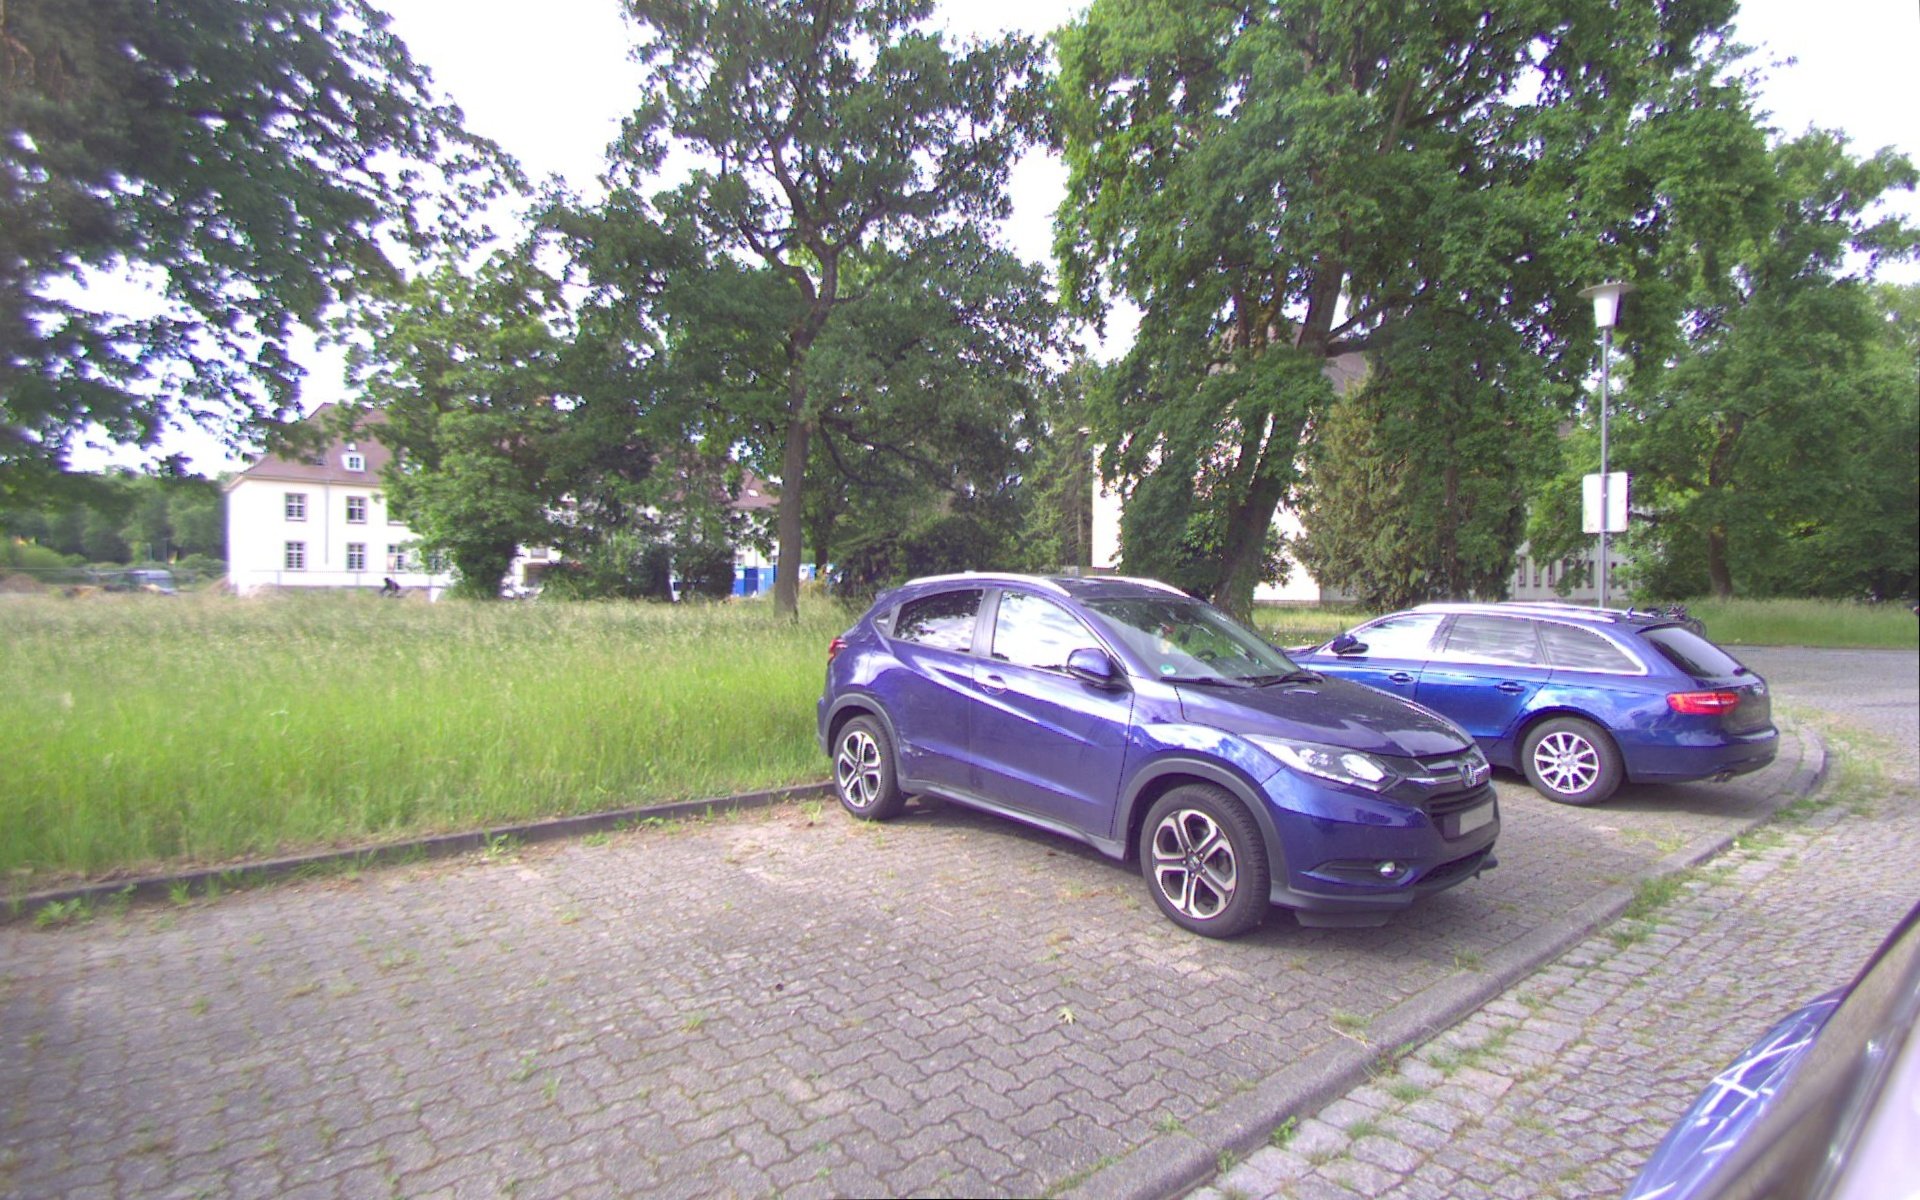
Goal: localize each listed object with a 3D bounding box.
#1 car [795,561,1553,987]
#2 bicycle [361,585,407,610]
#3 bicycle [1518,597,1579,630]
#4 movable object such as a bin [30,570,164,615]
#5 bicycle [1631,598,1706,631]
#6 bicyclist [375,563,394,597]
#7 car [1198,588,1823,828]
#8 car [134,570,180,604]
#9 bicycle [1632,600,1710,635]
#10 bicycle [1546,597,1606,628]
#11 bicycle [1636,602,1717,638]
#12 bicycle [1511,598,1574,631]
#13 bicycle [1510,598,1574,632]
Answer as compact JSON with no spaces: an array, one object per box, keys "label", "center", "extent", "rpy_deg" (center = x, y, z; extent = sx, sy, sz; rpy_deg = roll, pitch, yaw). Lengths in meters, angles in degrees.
[{"label":"car","center":[0.876,0.595,5.942],"extent":[1.762,1.591,4.170],"rpy_deg":[-1,2,-40]},{"label":"bicycle","center":[-29.371,-0.128,51.608],"extent":[1.899,1.244,0.724],"rpy_deg":[-1,0,-42]},{"label":"bicycle","center":[21.136,0.478,36.397],"extent":[1.839,1.137,0.616],"rpy_deg":[0,0,27]},{"label":"movable object such as a bin","center":[-53.003,-0.493,62.307],"extent":[5.853,2.688,2.179],"rpy_deg":[0,0,-23]},{"label":"bicycle","center":[24.191,0.496,34.591],"extent":[2.010,1.090,0.616],"rpy_deg":[0,0,27]},{"label":"bicyclist","center":[-29.378,-0.991,51.659],"extent":[0.759,1.717,0.726],"rpy_deg":[0,0,-41]},{"label":"car","center":[4.439,0.675,8.876],"extent":[1.752,1.439,4.483],"rpy_deg":[0,2,-37]},{"label":"car","center":[-57.667,-0.886,72.630],"extent":[4.579,2.377,1.889],"rpy_deg":[0,0,42]},{"label":"bicycle","center":[23.009,0.566,32.784],"extent":[1.951,1.090,0.584],"rpy_deg":[0,0,23]},{"label":"bicycle","center":[22.906,0.445,37.682],"extent":[1.839,1.137,0.616],"rpy_deg":[0,0,27]},{"label":"bicycle","center":[22.175,0.617,31.363],"extent":[1.951,1.090,0.584],"rpy_deg":[0,0,23]},{"label":"bicycle","center":[20.144,0.495,35.046],"extent":[1.839,1.137,0.616],"rpy_deg":[0,0,27]},{"label":"bicycle","center":[19.823,0.501,34.496],"extent":[1.839,1.137,0.616],"rpy_deg":[0,0,27]}]
